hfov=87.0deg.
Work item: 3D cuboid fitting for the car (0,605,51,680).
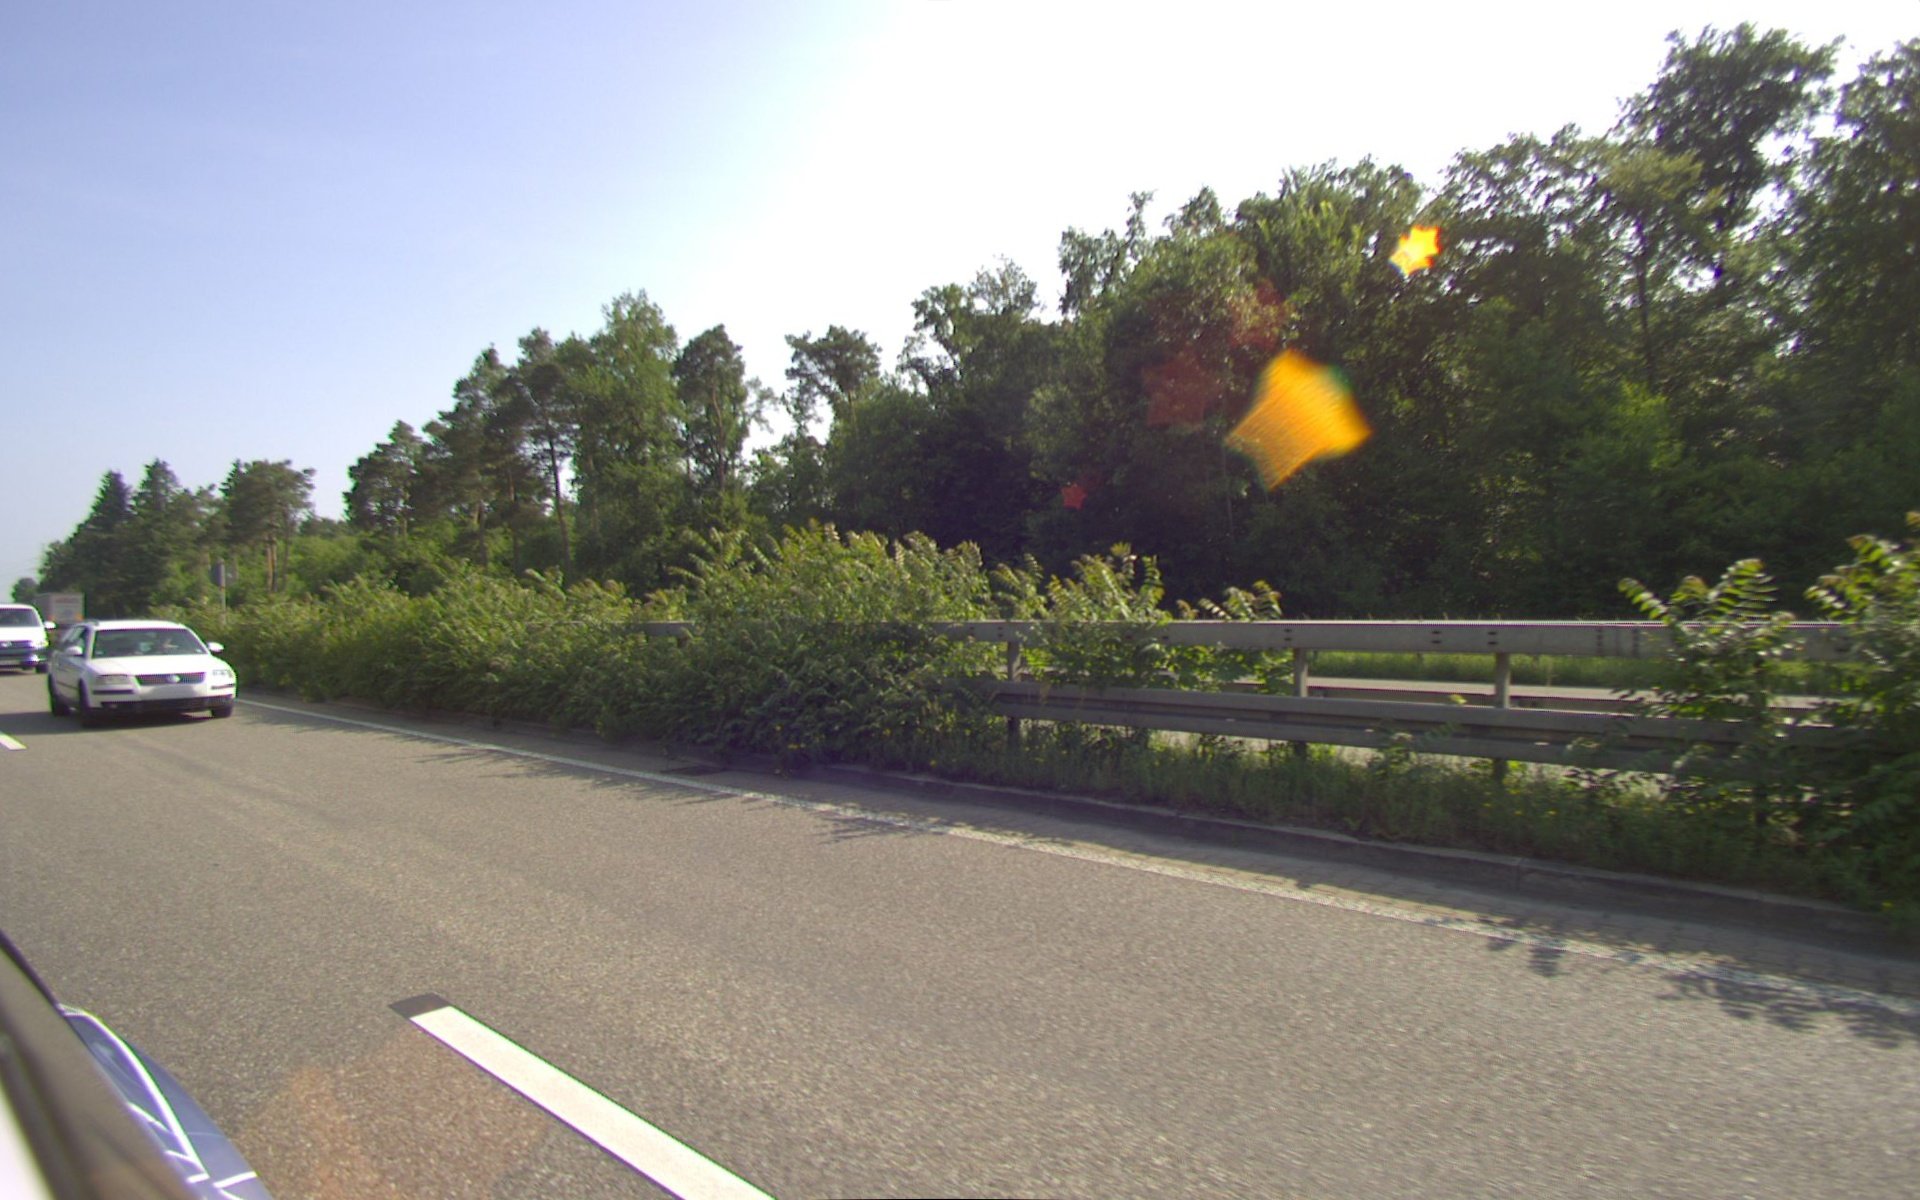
[{"bbox_3d":[-26.943,1.149,28.197,4.704,1.960,1.888,-1,-1,41],"label":"car"}]

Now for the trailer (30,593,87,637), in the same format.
[{"bbox_3d":[-91.701,1.608,102.828,12.405,4.241,2.803,-1,-2,41],"label":"trailer"}]

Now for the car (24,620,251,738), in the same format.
[{"bbox_3d":[-12.664,1.076,15.445,5.259,1.497,1.732,-1,-1,40],"label":"car"}]

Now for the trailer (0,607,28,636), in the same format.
[{"bbox_3d":[-140.385,3.104,149.401,8.370,4.070,3.261,-1,0,41],"label":"trailer"}]
